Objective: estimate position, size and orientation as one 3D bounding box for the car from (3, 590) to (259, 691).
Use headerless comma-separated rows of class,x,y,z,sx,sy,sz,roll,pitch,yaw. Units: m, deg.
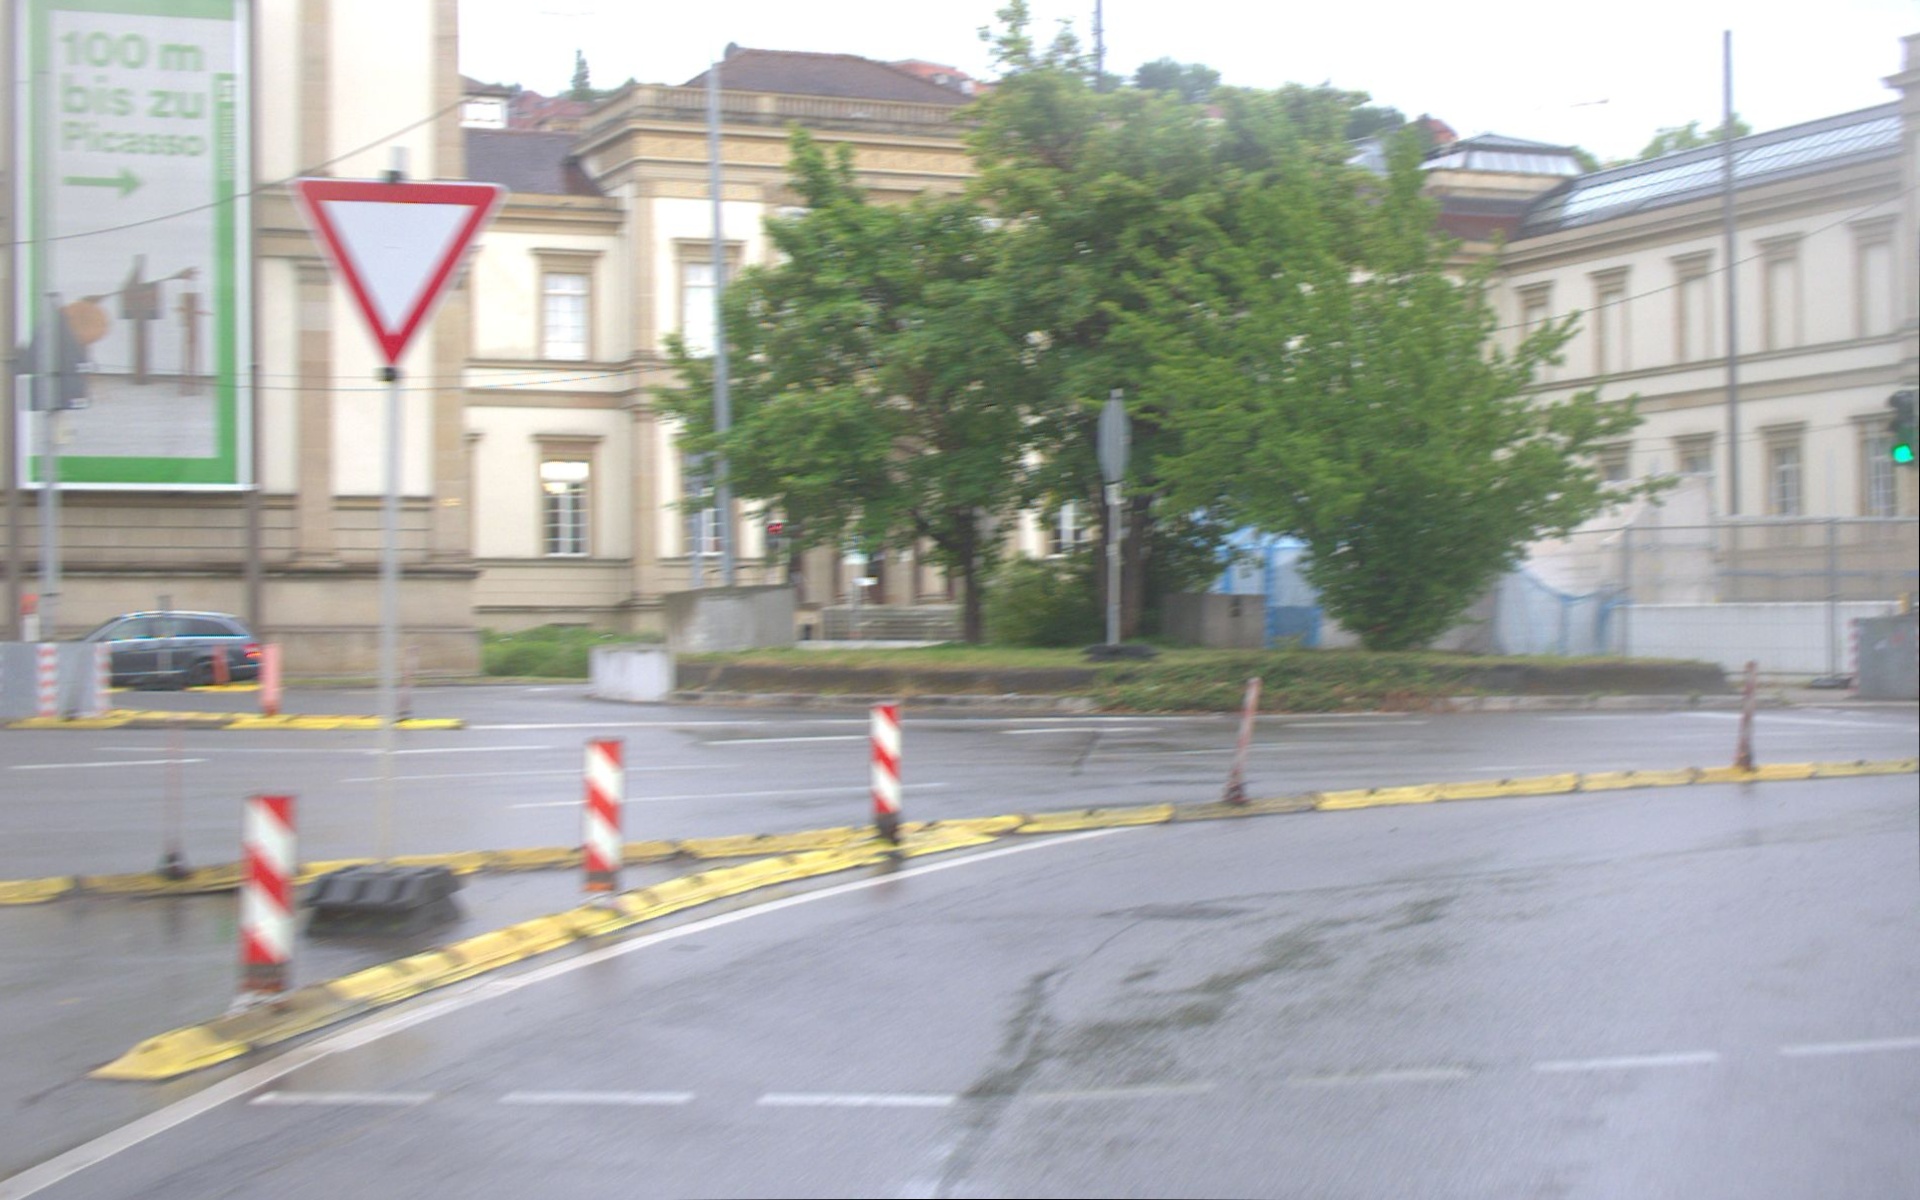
car,-14.719,0.716,61.009,4.179,1.695,1.823,1,1,-21
